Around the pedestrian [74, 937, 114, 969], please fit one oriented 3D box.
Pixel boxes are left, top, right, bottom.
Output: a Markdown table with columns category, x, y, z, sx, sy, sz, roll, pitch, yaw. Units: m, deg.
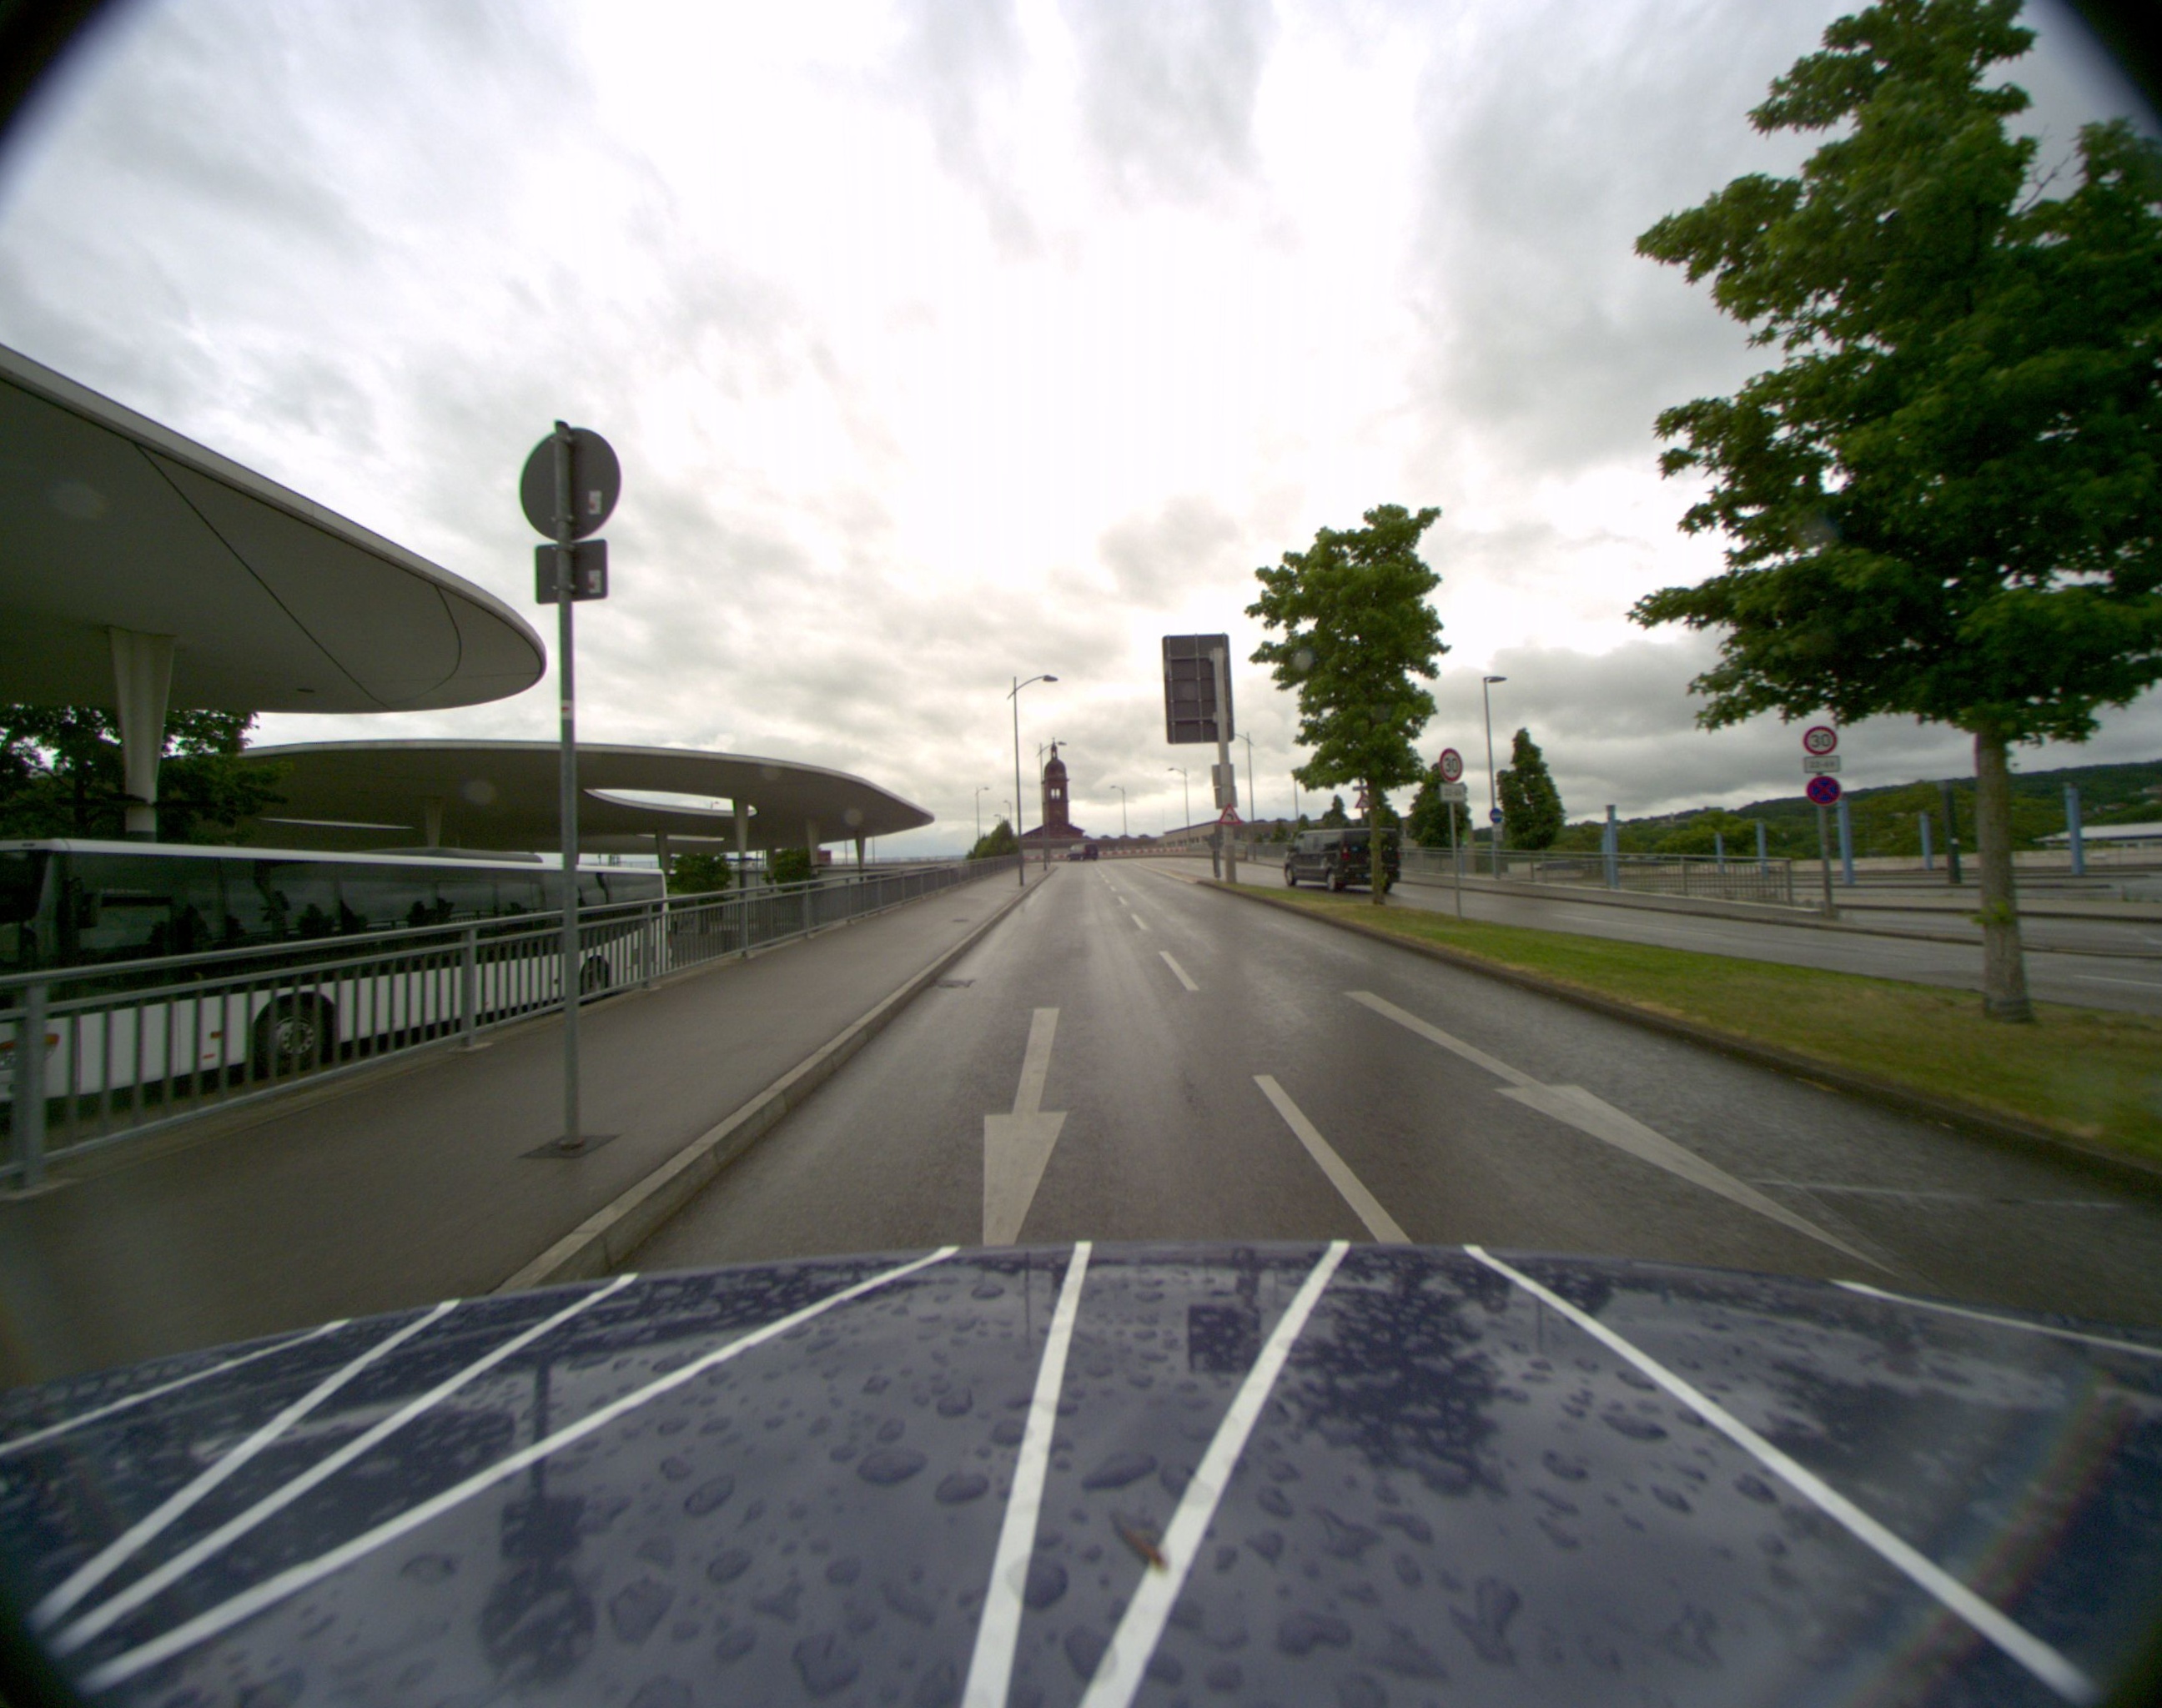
| category | x | y | z | sx | sy | sz | roll | pitch | yaw |
| --- | --- | --- | --- | --- | --- | --- | --- | --- | --- |
| pedestrian | -45.247 | 4.531 | 34.833 | 0.800 | 1.317 | 0.711 | -5 | 2 | 5 |

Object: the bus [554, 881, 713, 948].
| category | x | y | z | sx | sy | sz | roll | pitch | yaw |
| --- | --- | --- | --- | --- | --- | --- | --- | --- | --- |
| bus | -31.738 | 4.106 | 54.945 | 2.794 | 3.239 | 12.143 | -5 | 2 | 7 |

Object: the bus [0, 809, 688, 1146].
| category | x | y | z | sx | sy | sz | roll | pitch | yaw |
| --- | --- | --- | --- | --- | --- | --- | --- | --- | --- |
| bus | -11.913 | 1.622 | 13.809 | 2.852 | 3.340 | 12.431 | -5 | -3 | 0 |

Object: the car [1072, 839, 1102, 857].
| category | x | y | z | sx | sy | sz | roll | pitch | yaw |
| --- | --- | --- | --- | --- | --- | --- | --- | --- | --- |
| car | 0.624 | -0.733 | 87.523 | 1.853 | 1.957 | 4.676 | -3 | 2 | -20 |

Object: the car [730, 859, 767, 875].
| category | x | y | z | sx | sy | sz | roll | pitch | yaw |
| --- | --- | --- | --- | --- | --- | --- | --- | --- | --- |
| car | -46.155 | 1.856 | 105.588 | 4.206 | 1.956 | 1.852 | -4 | 0 | 3 |

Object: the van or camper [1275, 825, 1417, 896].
| category | x | y | z | sx | sy | sz | roll | pitch | yaw |
| --- | --- | --- | --- | --- | --- | --- | --- | --- | --- |
| van or camper | 8.444 | 0.131 | 24.873 | 2.223 | 2.061 | 5.278 | 0 | 1 | -8 |

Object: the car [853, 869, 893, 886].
| category | x | y | z | sx | sy | sz | roll | pitch | yaw |
| --- | --- | --- | --- | --- | --- | --- | --- | --- | --- |
| car | -27.636 | 3.093 | 100.915 | 4.683 | 1.956 | 2.114 | -4 | 0 | -3 |
